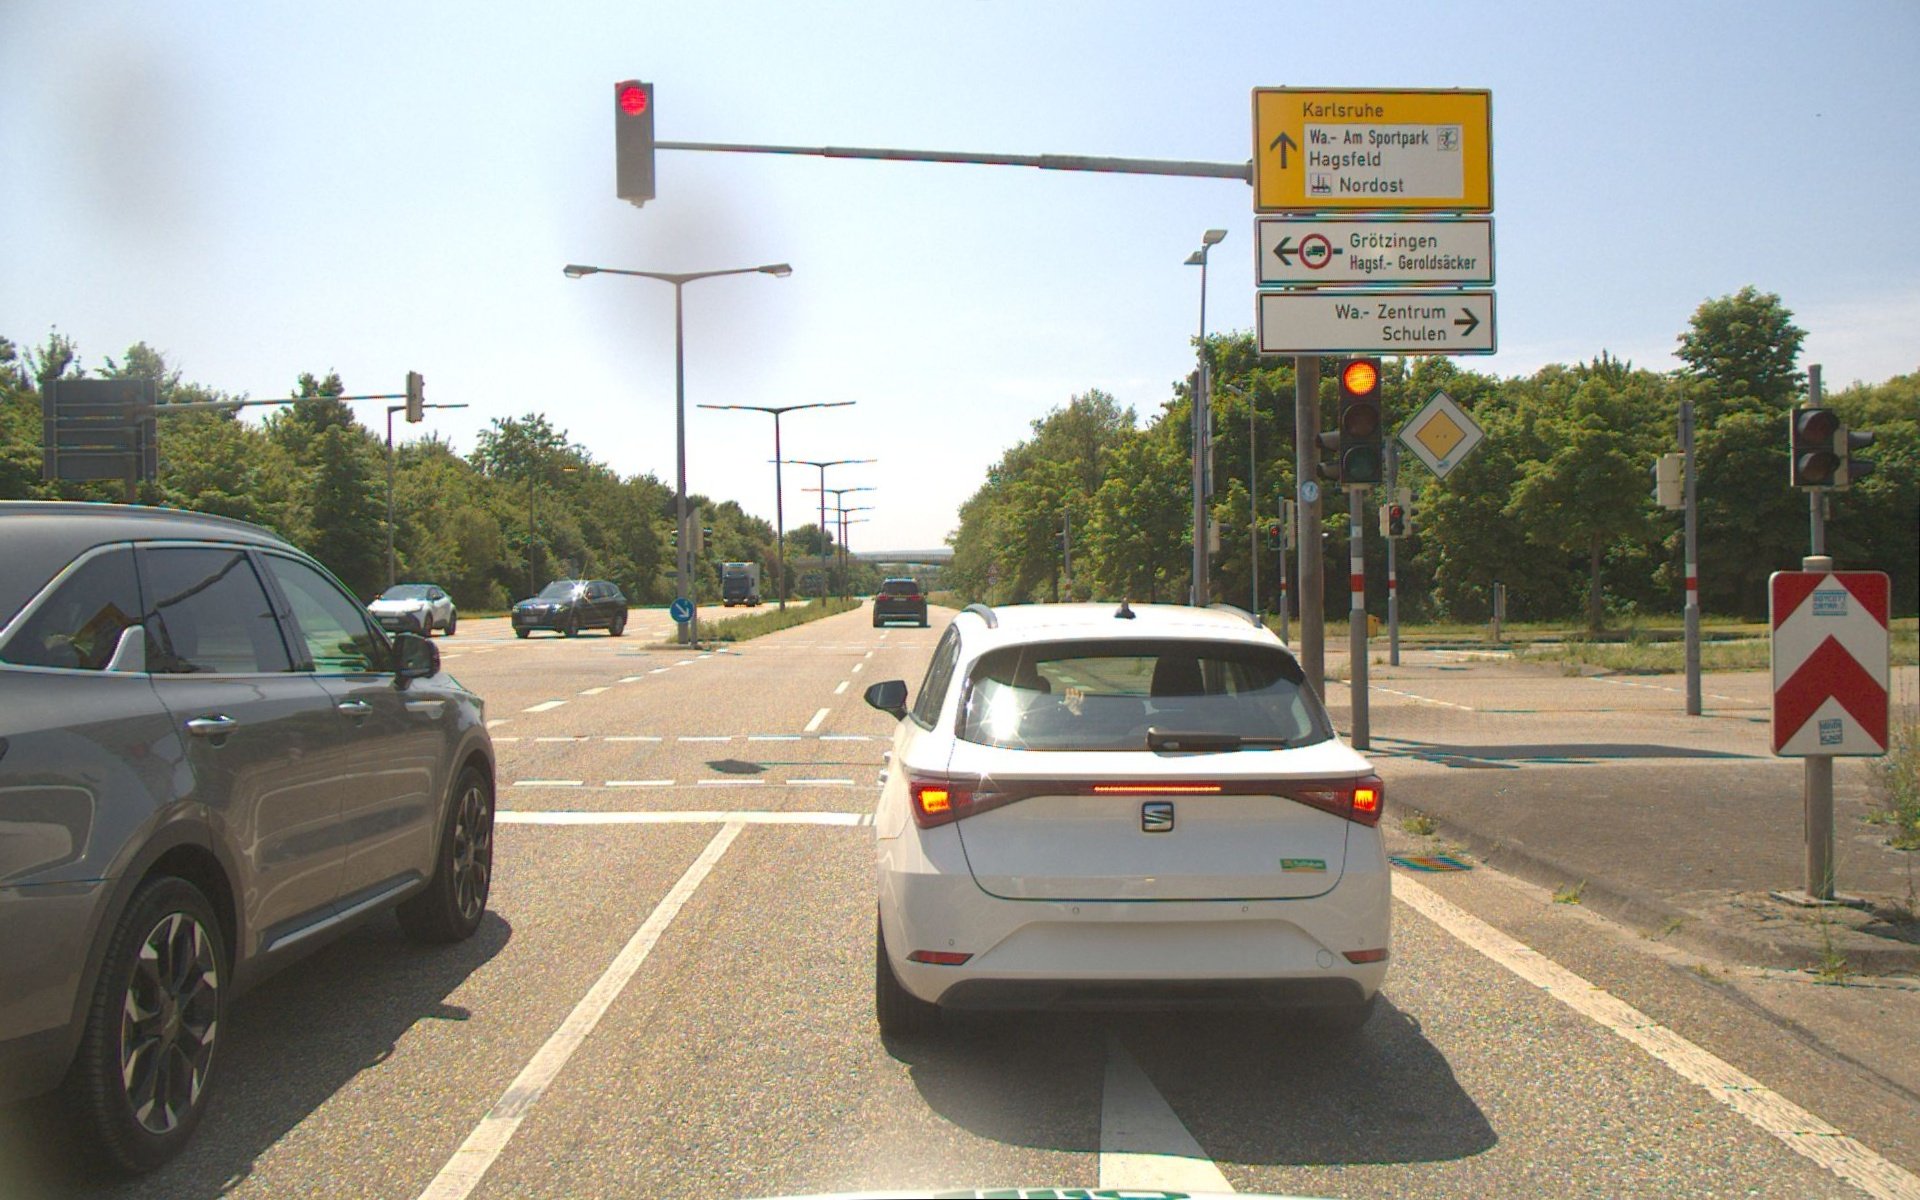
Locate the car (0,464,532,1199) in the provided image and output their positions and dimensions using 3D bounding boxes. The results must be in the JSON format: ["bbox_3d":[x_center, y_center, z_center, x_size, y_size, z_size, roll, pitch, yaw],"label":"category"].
[{"bbox_3d":[-2.872,0.567,5.454,1.767,1.691,4.643,-1,0,-1],"label":"car"}]

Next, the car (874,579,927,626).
[{"bbox_3d":[-2.256,0.057,63.856,1.816,1.738,4.001,-1,1,1],"label":"car"}]

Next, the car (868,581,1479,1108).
[{"bbox_3d":[0.578,0.696,6.489,1.699,1.453,3.693,1,0,-1],"label":"car"}]

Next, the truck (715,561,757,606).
[{"bbox_3d":[-18.661,-1.344,137.980,2.633,3.633,7.266,0,1,-1],"label":"truck"}]

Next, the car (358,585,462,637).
[{"bbox_3d":[-16.631,0.303,50.192,1.785,1.481,4.168,-1,1,-1],"label":"car"}]

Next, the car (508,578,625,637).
[{"bbox_3d":[-11.829,0.193,49.988,1.670,1.692,4.226,-1,1,14],"label":"car"}]
